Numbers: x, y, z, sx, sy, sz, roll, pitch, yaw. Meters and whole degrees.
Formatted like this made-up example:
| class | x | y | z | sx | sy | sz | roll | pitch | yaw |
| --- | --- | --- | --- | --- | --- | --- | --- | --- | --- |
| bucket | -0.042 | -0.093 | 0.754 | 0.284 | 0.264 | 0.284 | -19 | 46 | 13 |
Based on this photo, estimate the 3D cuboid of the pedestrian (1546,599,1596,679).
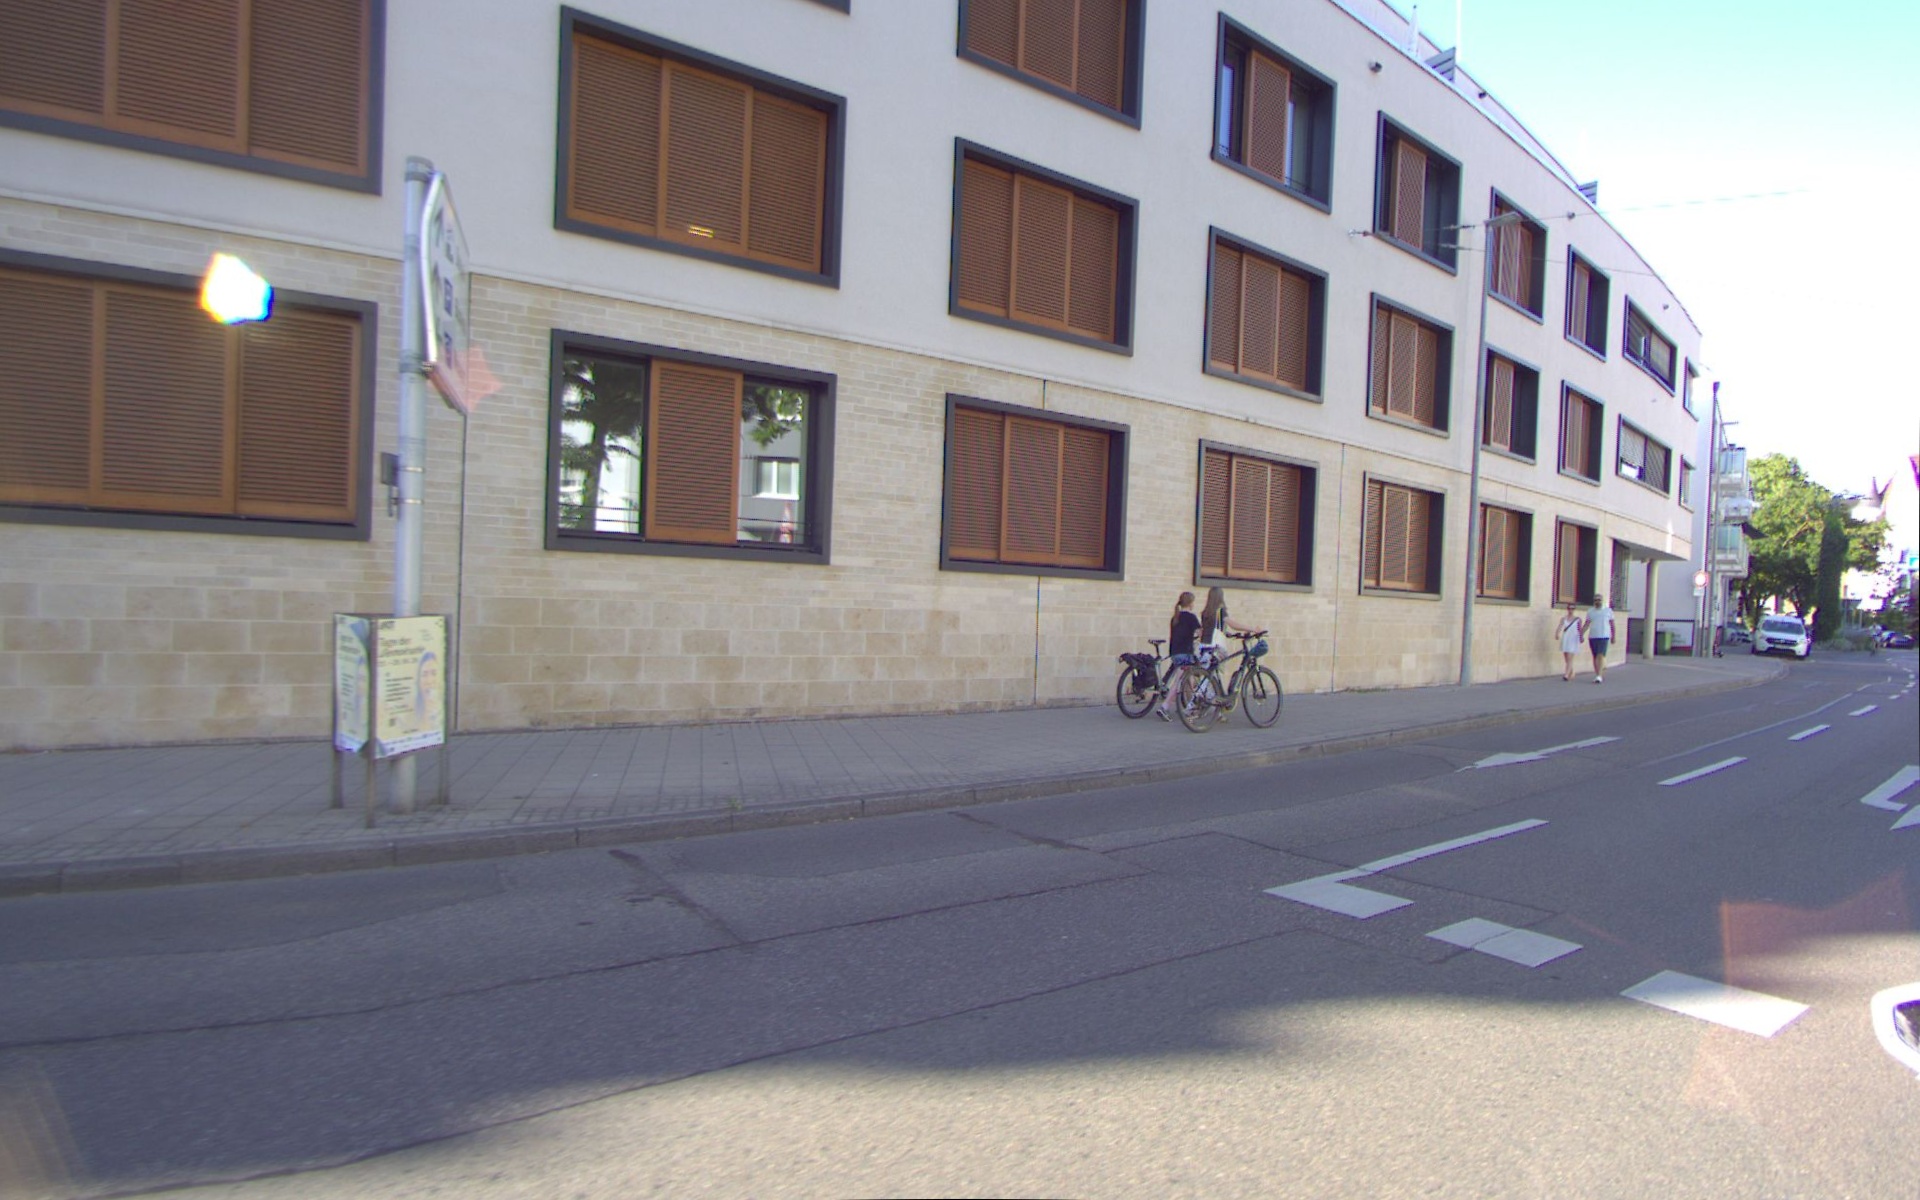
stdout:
| class | x | y | z | sx | sy | sz | roll | pitch | yaw |
| --- | --- | --- | --- | --- | --- | --- | --- | --- | --- |
| pedestrian | 13.635 | 0.862 | 22.420 | 0.837 | 1.737 | 0.695 | 2 | 1 | -44 |

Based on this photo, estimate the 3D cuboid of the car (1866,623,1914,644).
| class | x | y | z | sx | sy | sz | roll | pitch | yaw |
| --- | --- | --- | --- | --- | --- | --- | --- | --- | --- |
| car | 77.070 | 2.768 | 83.312 | 1.964 | 1.617 | 3.993 | 3 | 1 | 29 |

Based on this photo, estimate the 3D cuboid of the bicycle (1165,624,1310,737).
| class | x | y | z | sx | sy | sz | roll | pitch | yaw |
| --- | --- | --- | --- | --- | --- | --- | --- | --- | --- |
| bicycle | 3.241 | 0.892 | 11.658 | 1.946 | 1.194 | 0.437 | 0 | 2 | -34 |

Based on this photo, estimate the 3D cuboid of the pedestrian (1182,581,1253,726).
| class | x | y | z | sx | sy | sz | roll | pitch | yaw |
| --- | --- | --- | --- | --- | --- | --- | --- | --- | --- |
| pedestrian | 3.082 | 0.625 | 12.032 | 0.596 | 1.669 | 0.471 | 1 | 2 | -32 |

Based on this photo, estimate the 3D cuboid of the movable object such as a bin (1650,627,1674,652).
| class | x | y | z | sx | sy | sz | roll | pitch | yaw |
| --- | --- | --- | --- | --- | --- | --- | --- | --- | --- |
| movable object such as a bin | 27.011 | 1.504 | 38.638 | 0.523 | 0.913 | 0.546 | 2 | 1 | -27 |

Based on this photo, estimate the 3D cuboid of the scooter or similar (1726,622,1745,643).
| class | x | y | z | sx | sy | sz | roll | pitch | yaw |
| --- | --- | --- | --- | --- | --- | --- | --- | --- | --- |
| scooter or similar | 47.360 | 1.978 | 61.372 | 0.500 | 1.245 | 1.540 | 3 | 1 | 23 |

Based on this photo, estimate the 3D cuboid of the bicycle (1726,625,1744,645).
| class | x | y | z | sx | sy | sz | roll | pitch | yaw |
| --- | --- | --- | --- | --- | --- | --- | --- | --- | --- |
| bicycle | 44.912 | 2.018 | 58.234 | 0.568 | 1.124 | 1.867 | 3 | 1 | 30 |

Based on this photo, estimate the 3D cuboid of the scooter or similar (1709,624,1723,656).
| class | x | y | z | sx | sy | sz | roll | pitch | yaw |
| --- | --- | --- | --- | --- | --- | --- | --- | --- | --- |
| scooter or similar | 29.260 | 1.525 | 38.880 | 0.399 | 1.191 | 0.943 | 1 | 1 | 36 |

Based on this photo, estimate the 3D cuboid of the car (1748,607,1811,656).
| class | x | y | z | sx | sy | sz | roll | pitch | yaw |
| --- | --- | --- | --- | --- | --- | --- | --- | --- | --- |
| car | 35.463 | 1.363 | 43.568 | 1.787 | 1.894 | 4.316 | 5 | 2 | 37 |

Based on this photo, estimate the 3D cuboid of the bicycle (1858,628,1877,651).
| class | x | y | z | sx | sy | sz | roll | pitch | yaw |
| --- | --- | --- | --- | --- | --- | --- | --- | --- | --- |
| bicycle | 45.637 | 1.969 | 50.525 | 0.615 | 1.096 | 1.775 | 1 | -1 | 40 |

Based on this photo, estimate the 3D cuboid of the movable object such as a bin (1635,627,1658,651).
| class | x | y | z | sx | sy | sz | roll | pitch | yaw |
| --- | --- | --- | --- | --- | --- | --- | --- | --- | --- |
| movable object such as a bin | 26.759 | 1.525 | 39.148 | 0.523 | 0.913 | 0.546 | 2 | 1 | -27 |

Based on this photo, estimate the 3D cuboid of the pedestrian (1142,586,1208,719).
| class | x | y | z | sx | sy | sz | roll | pitch | yaw |
| --- | --- | --- | --- | --- | --- | --- | --- | --- | --- |
| pedestrian | 2.657 | 0.635 | 12.426 | 0.596 | 1.586 | 0.471 | 1 | 1 | -32 |

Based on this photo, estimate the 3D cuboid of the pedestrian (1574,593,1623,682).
| class | x | y | z | sx | sy | sz | roll | pitch | yaw |
| --- | --- | --- | --- | --- | --- | --- | --- | --- | --- |
| pedestrian | 14.001 | 0.811 | 22.019 | 0.986 | 1.873 | 0.599 | 2 | 1 | -44 |

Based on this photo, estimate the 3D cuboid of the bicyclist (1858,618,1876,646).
| class | x | y | z | sx | sy | sz | roll | pitch | yaw |
| --- | --- | --- | --- | --- | --- | --- | --- | --- | --- |
| bicyclist | 45.680 | 1.616 | 50.566 | 0.615 | 1.398 | 0.797 | 1 | 0 | 40 |

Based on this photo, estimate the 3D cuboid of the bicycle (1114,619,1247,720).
| class | x | y | z | sx | sy | sz | roll | pitch | yaw |
| --- | --- | --- | --- | --- | --- | --- | --- | --- | --- |
| bicycle | 2.753 | 0.840 | 12.460 | 1.816 | 1.183 | 0.374 | 1 | 2 | -30 |
